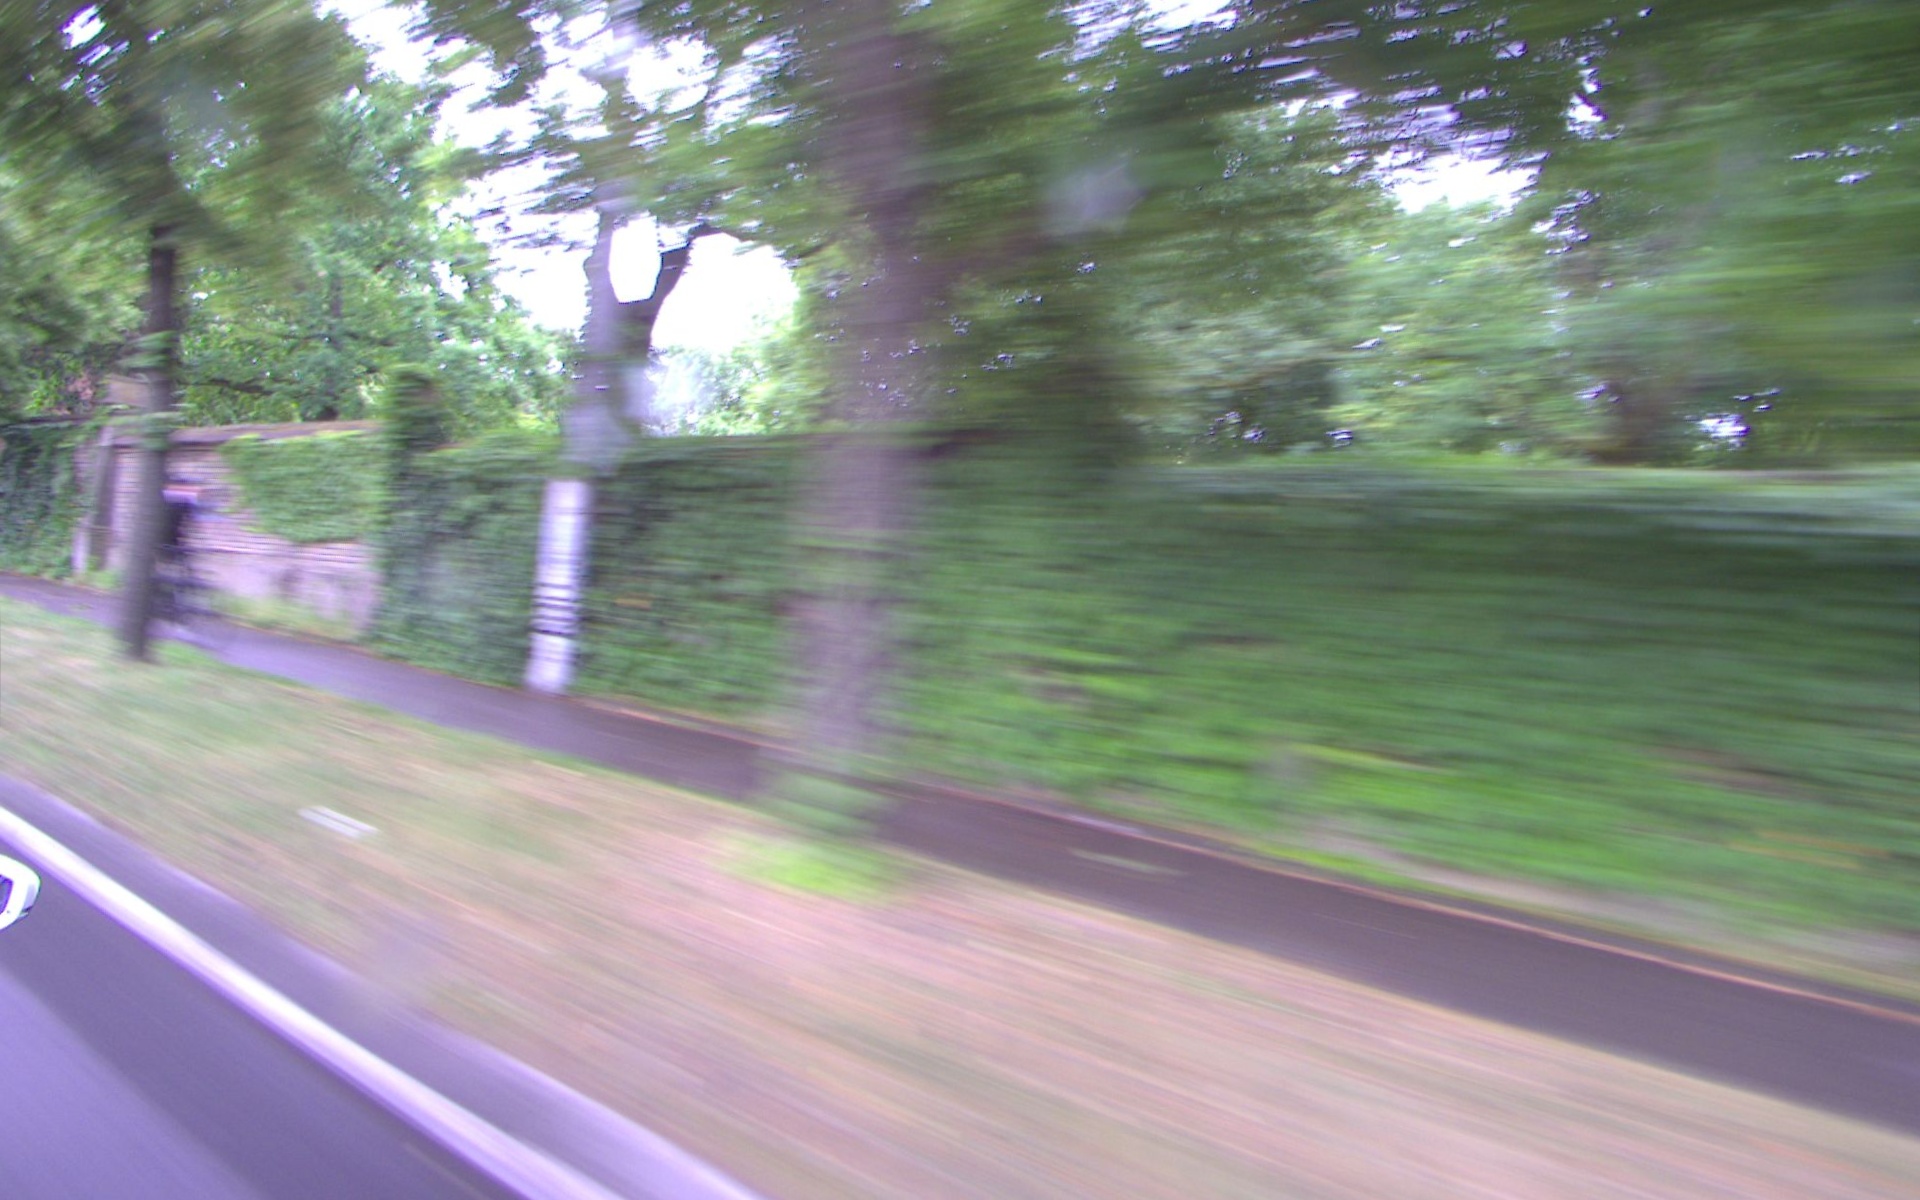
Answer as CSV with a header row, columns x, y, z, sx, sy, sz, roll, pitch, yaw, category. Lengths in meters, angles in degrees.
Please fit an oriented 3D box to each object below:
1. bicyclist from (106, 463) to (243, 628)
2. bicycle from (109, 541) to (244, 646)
x,y,z,sx,sy,sz,roll,pitch,yaw,category
-8.535,-0.583,10.937,0.982,1.636,0.764,7,1,32,bicyclist
-8.492,-0.089,10.874,2.064,0.913,0.407,7,1,32,bicycle
